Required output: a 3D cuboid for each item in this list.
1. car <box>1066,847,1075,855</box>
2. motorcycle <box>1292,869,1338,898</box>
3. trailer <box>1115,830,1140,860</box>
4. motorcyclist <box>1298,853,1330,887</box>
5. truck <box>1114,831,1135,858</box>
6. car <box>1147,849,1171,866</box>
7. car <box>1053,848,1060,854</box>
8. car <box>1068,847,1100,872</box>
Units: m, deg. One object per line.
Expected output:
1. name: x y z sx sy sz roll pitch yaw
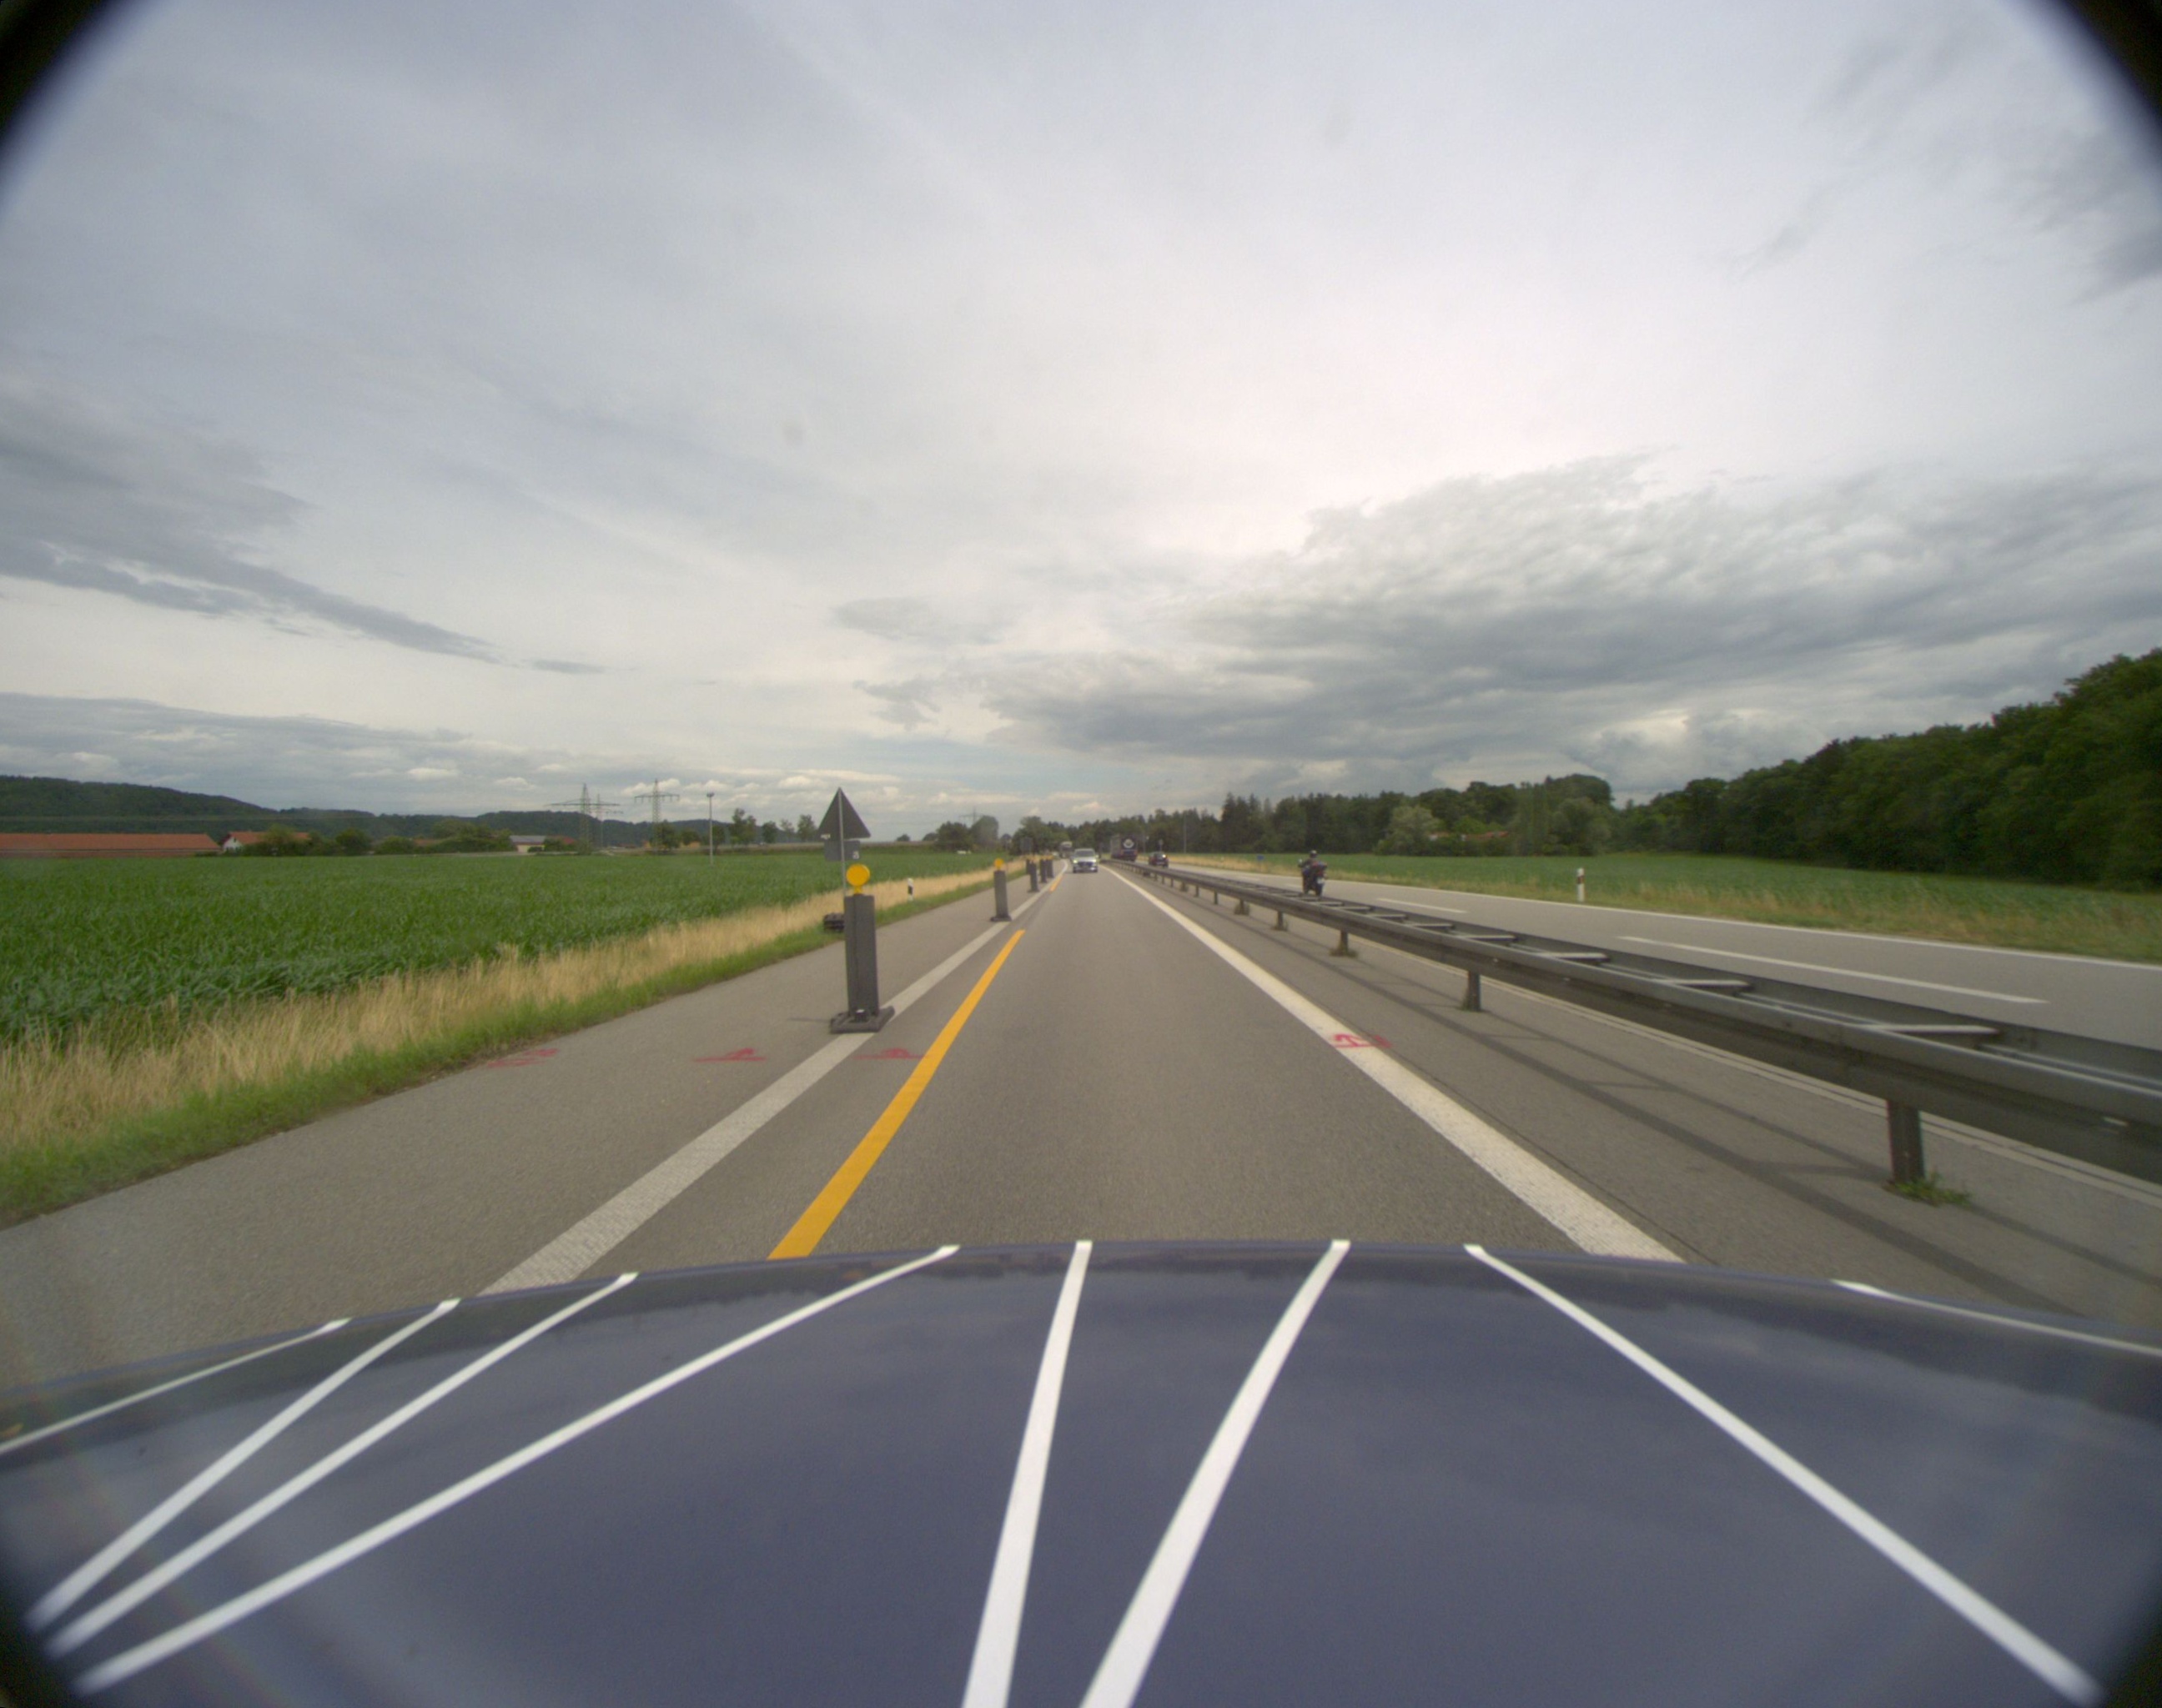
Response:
1. car: -2.664 -0.731 191.319 1.998 2.002 3.999 -2 1 1
2. motorcycle: 8.769 1.076 28.600 0.857 0.929 2.724 -2 0 0
3. trailer: 7.033 -1.399 116.393 2.806 4.149 13.560 -2 1 0
4. motorcyclist: 8.759 0.590 28.592 0.863 1.202 0.960 -2 1 0
5. truck: 7.032 -1.579 123.844 2.806 4.118 7.227 -2 1 0
6. car: 8.230 0.370 80.490 1.999 1.674 4.232 -2 1 0
7. car: -7.022 -0.764 216.202 1.822 1.623 4.600 -2 1 -2
8. car: 0.205 0.395 60.507 1.924 1.823 3.996 -3 1 -8
